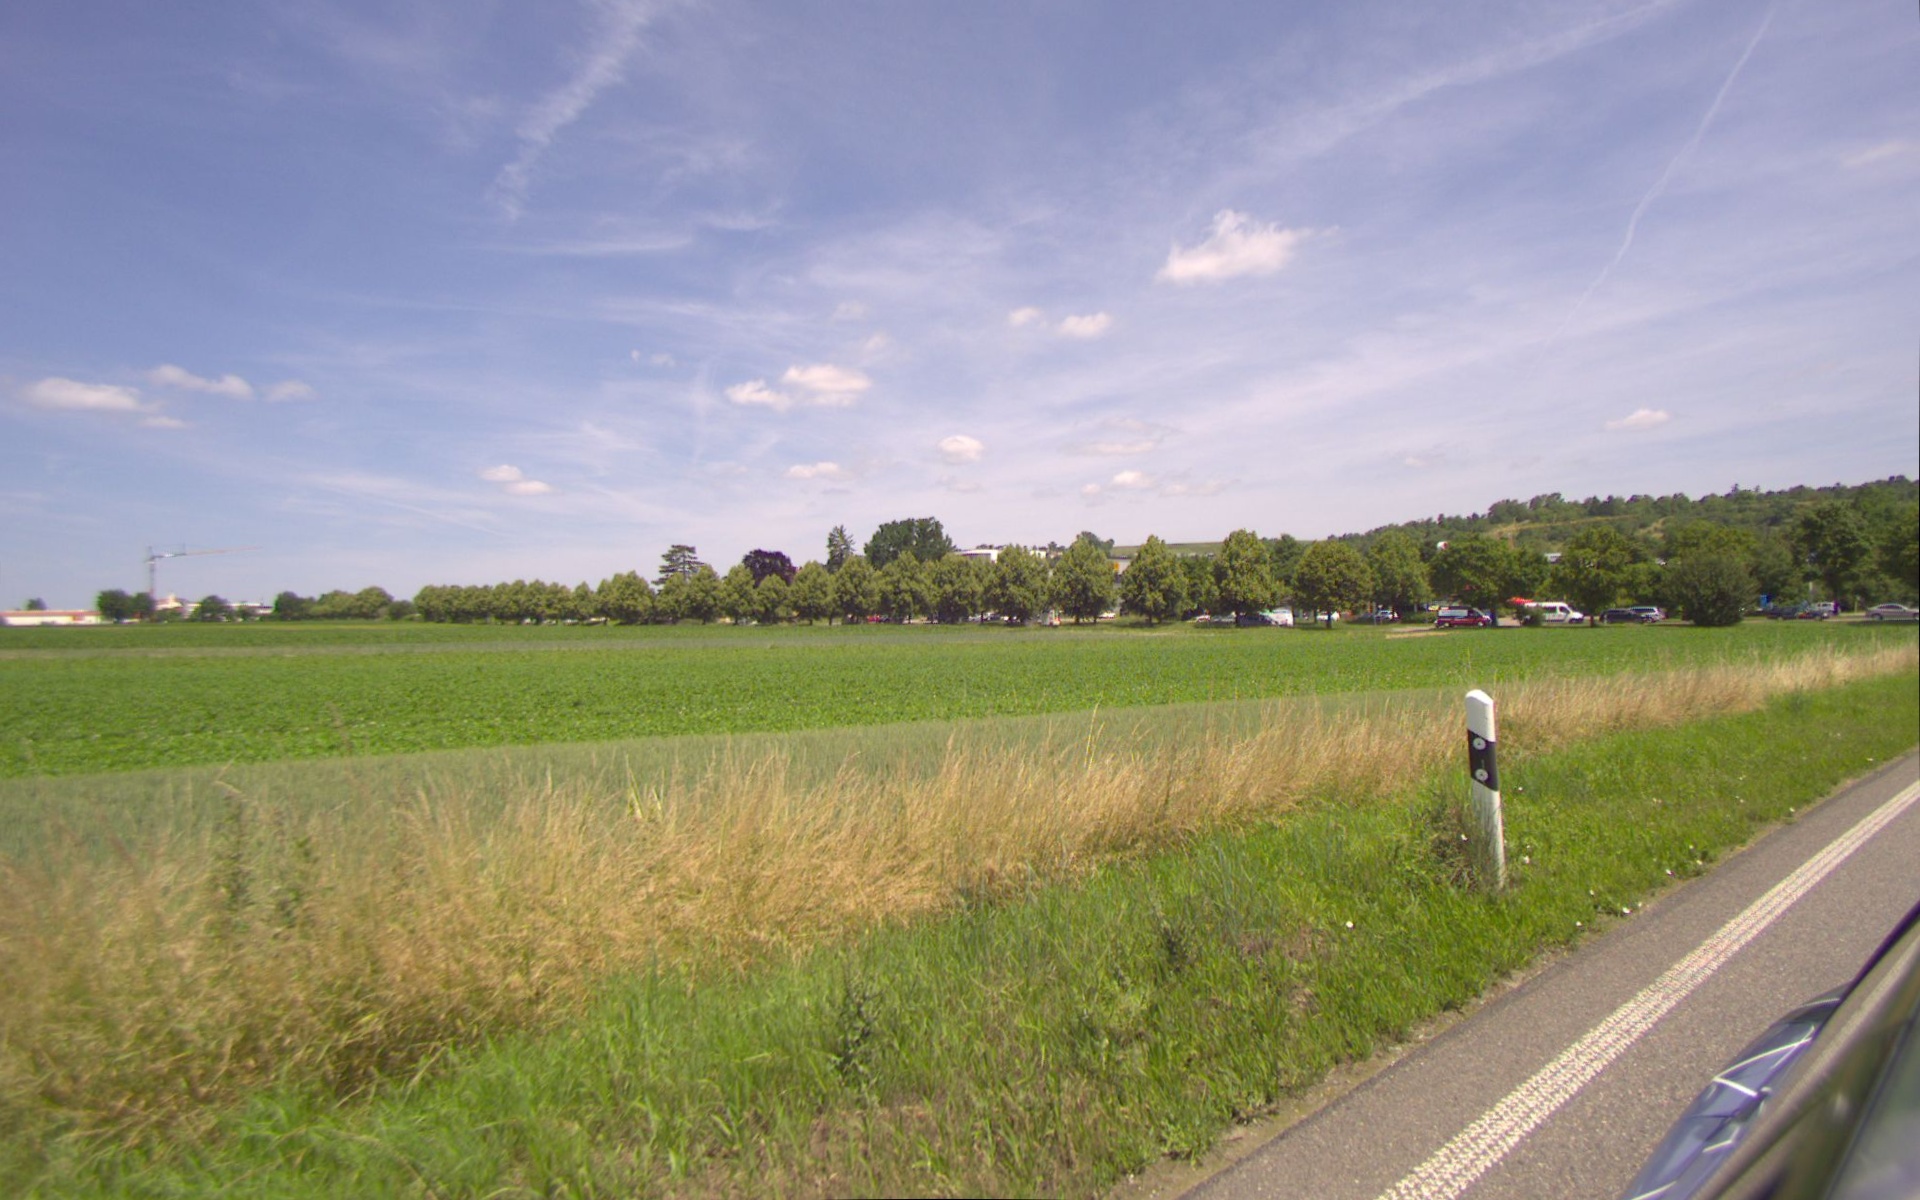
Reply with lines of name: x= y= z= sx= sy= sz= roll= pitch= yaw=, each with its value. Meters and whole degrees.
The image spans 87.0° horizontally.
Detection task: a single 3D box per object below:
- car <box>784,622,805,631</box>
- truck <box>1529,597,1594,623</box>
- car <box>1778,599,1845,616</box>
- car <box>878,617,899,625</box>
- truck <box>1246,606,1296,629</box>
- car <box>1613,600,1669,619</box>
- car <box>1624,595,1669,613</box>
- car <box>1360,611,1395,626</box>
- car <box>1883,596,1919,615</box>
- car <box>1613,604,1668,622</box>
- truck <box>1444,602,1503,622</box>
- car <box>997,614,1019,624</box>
car: x=-32.148 y=5.171 z=196.766 sx=3.984 sy=1.670 sz=1.970 roll=-3 pitch=-1 yaw=43
truck: x=63.180 y=1.060 z=106.334 sx=5.608 sy=2.396 sz=2.025 roll=-3 pitch=-1 yaw=39
car: x=77.543 y=0.715 z=92.210 sx=1.772 sy=1.289 sz=4.547 roll=-2 pitch=-1 yaw=-45
car: x=-15.420 y=4.447 z=217.034 sx=1.841 sy=1.611 sz=4.800 roll=-2 pitch=-1 yaw=-43
truck: x=40.938 y=2.307 z=133.274 sx=5.922 sy=2.771 sz=2.042 roll=-3 pitch=1 yaw=44
car: x=68.552 y=0.970 z=101.879 sx=1.968 sy=1.719 sz=4.278 roll=-2 pitch=-1 yaw=-45
car: x=77.302 y=0.465 z=114.032 sx=3.968 sy=1.847 sz=1.802 roll=-3 pitch=-1 yaw=32
car: x=57.059 y=2.523 z=138.411 sx=1.792 sy=1.847 sz=3.990 roll=-2 pitch=-1 yaw=-43
car: x=82.068 y=0.453 z=86.399 sx=1.770 sy=1.529 sz=4.554 roll=-2 pitch=-1 yaw=-40
car: x=70.127 y=1.364 z=104.306 sx=4.506 sy=1.713 sz=1.840 roll=-2 pitch=0 yaw=41
truck: x=56.546 y=1.339 z=111.544 sx=5.448 sy=2.001 sz=1.775 roll=-3 pitch=-1 yaw=40
car: x=8.965 y=3.628 z=189.944 sx=1.715 sy=1.650 sz=3.990 roll=-2 pitch=-1 yaw=-43
